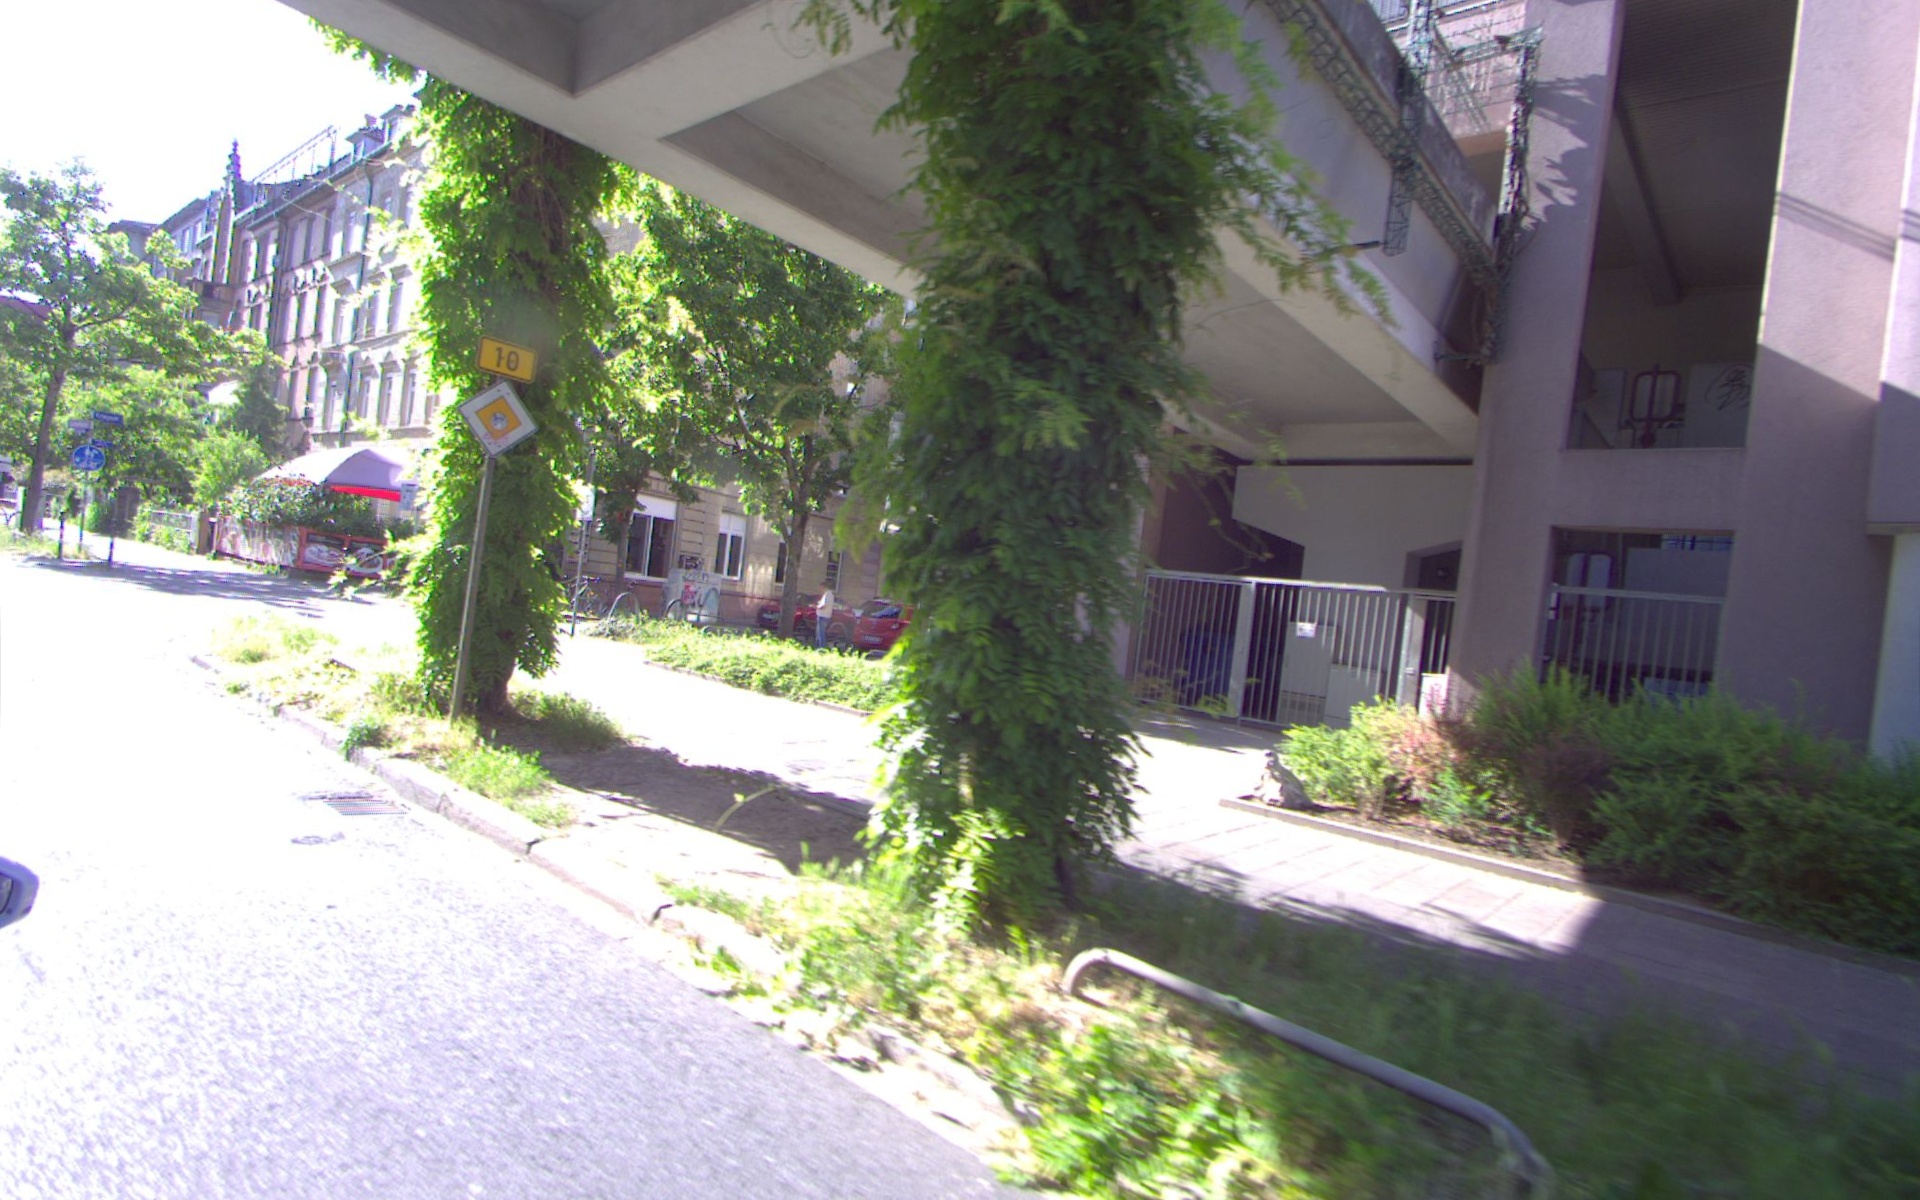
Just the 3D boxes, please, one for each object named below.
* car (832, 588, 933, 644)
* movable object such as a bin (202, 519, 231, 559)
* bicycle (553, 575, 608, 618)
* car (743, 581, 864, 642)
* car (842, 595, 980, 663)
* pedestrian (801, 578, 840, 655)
[{"bbox_3d":[-2.863,0.639,37.961,1.666,1.614,3.995,7,-1,30],"label":"car"},{"bbox_3d":[-23.485,-1.929,31.765,0.544,1.147,0.567,7,1,42],"label":"movable object such as a bin"},{"bbox_3d":[-9.948,-0.081,26.406,0.387,0.986,1.311,7,0,31],"label":"bicycle"},{"bbox_3d":[-5.219,0.439,34.098,1.749,1.458,3.995,11,0,31],"label":"car"},{"bbox_3d":[-1.248,0.832,27.334,1.665,1.480,3.991,7,0,32],"label":"car"},{"bbox_3d":[-3.048,0.351,21.908,0.524,1.596,0.630,6,1,-24],"label":"pedestrian"}]
